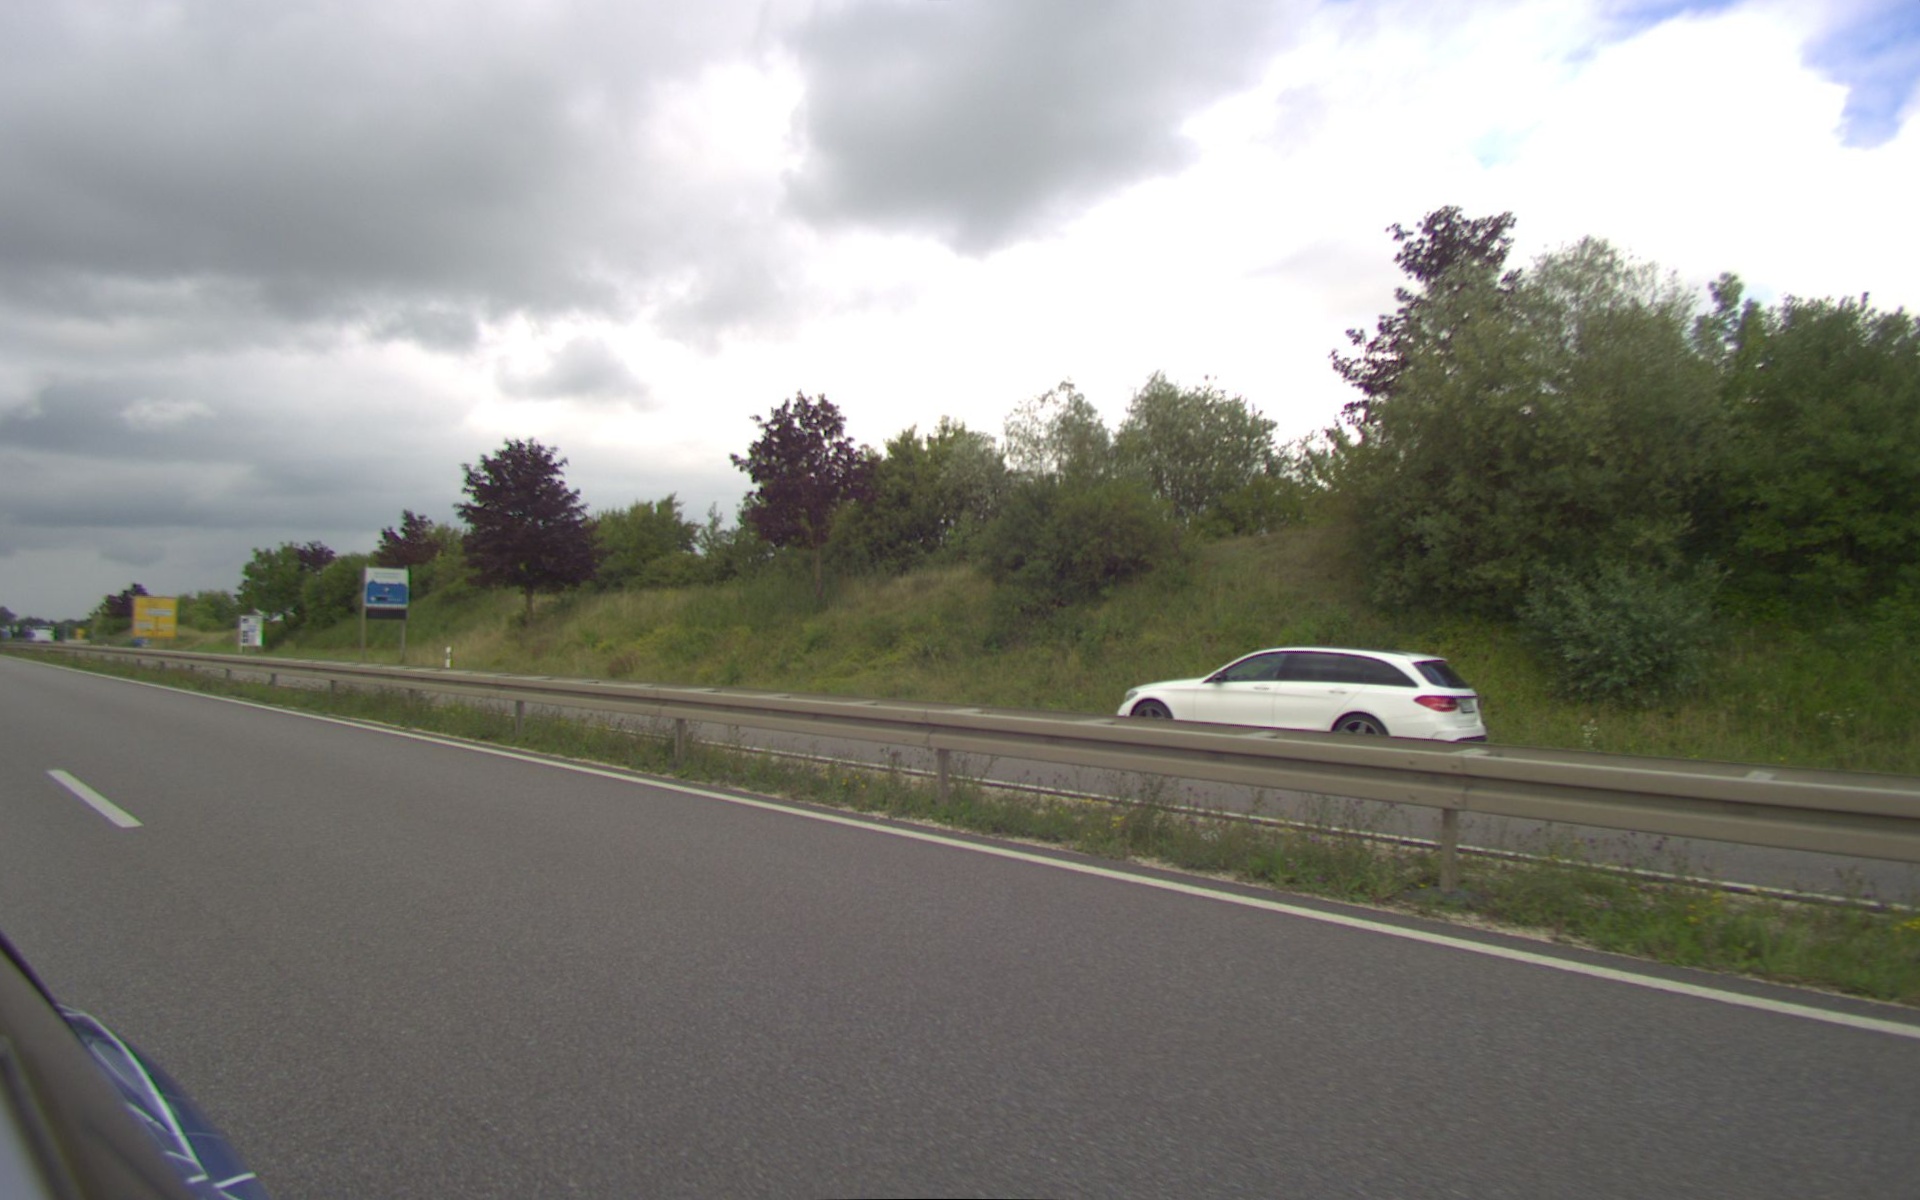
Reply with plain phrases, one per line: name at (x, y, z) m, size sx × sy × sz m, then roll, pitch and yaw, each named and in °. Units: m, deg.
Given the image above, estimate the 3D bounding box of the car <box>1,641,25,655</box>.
car at (-105.918, 5.330, 113.149) m, size 4.578 × 1.497 × 1.734 m, roll -4°, pitch -4°, yaw 44°

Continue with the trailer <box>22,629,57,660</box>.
trailer at (-126.792, 6.157, 139.335) m, size 12.988 × 3.977 × 2.744 m, roll -4°, pitch -4°, yaw 44°

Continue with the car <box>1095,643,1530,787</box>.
car at (4.416, 1.375, 13.263) m, size 4.986 × 1.529 × 1.972 m, roll -3°, pitch -4°, yaw 41°

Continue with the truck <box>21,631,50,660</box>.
truck at (-132.103, 6.494, 144.573) m, size 5.288 × 4.028 × 2.771 m, roll -4°, pitch -4°, yaw 44°
